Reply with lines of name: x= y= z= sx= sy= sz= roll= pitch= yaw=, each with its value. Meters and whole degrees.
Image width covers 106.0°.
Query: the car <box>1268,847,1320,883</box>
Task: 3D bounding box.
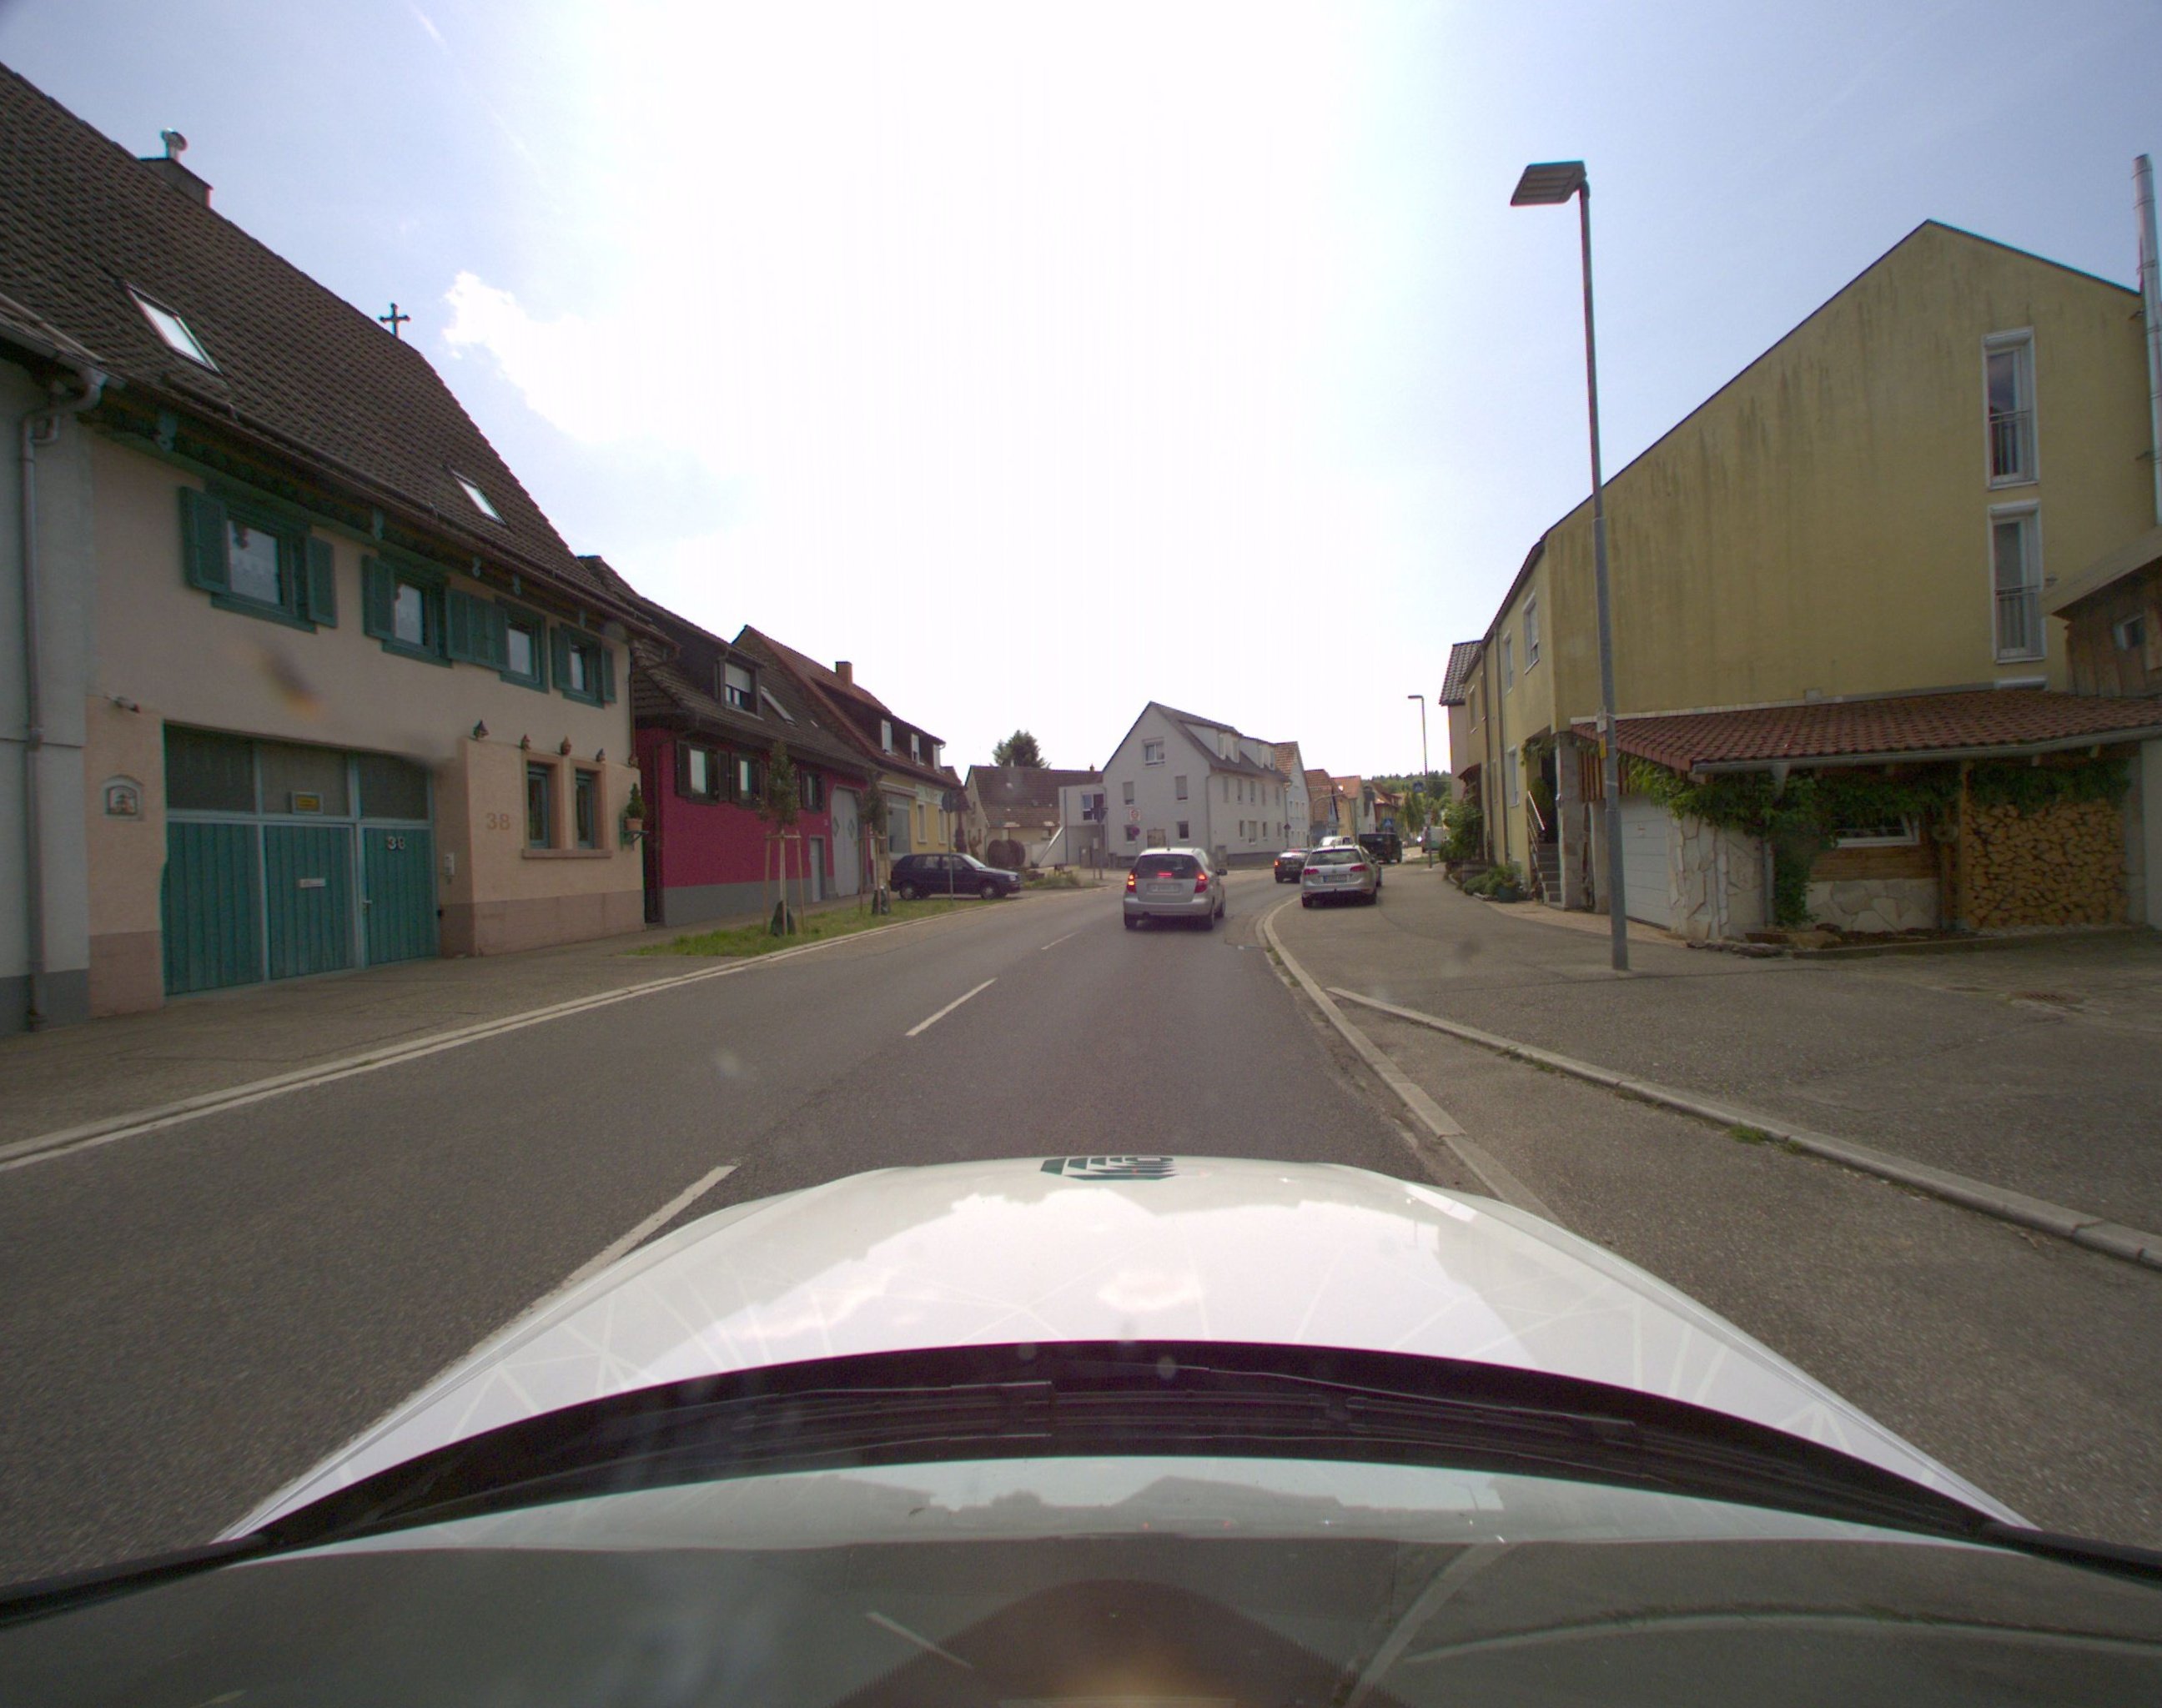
car: x=9.027 y=0.474 z=34.338 sx=1.735 sy=1.416 sz=4.019 roll=-1 pitch=-1 yaw=20

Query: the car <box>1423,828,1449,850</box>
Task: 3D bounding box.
car: x=34.704 y=-1.446 z=79.516 sx=1.975 sy=2.014 sz=4.024 roll=-1 pitch=-1 yaw=28

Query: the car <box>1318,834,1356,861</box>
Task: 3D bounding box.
car: x=18.808 y=-0.441 z=59.760 sx=1.975 sy=1.800 sz=4.964 roll=-1 pitch=-1 yaw=25

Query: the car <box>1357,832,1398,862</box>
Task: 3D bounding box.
car: x=19.088 y=-0.390 z=52.335 sx=1.975 sy=1.816 sz=4.023 roll=-1 pitch=-1 yaw=27

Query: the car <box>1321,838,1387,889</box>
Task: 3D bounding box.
car: x=8.952 y=0.334 z=26.977 sx=1.870 sy=1.530 sz=4.016 roll=-1 pitch=-1 yaw=16

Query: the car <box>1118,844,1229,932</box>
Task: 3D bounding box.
car: x=2.065 y=0.606 z=17.210 sx=1.797 sy=1.643 sz=3.744 roll=0 pitch=1 yaw=15

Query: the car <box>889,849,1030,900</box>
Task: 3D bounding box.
car: x=-3.662 y=0.607 z=24.965 sx=3.949 sy=1.464 sz=1.723 roll=-1 pitch=0 yaw=4

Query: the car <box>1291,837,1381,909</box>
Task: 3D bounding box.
car: x=6.562 y=0.434 z=20.926 sx=1.870 sy=1.530 sz=4.356 roll=-5 pitch=-1 yaw=18
